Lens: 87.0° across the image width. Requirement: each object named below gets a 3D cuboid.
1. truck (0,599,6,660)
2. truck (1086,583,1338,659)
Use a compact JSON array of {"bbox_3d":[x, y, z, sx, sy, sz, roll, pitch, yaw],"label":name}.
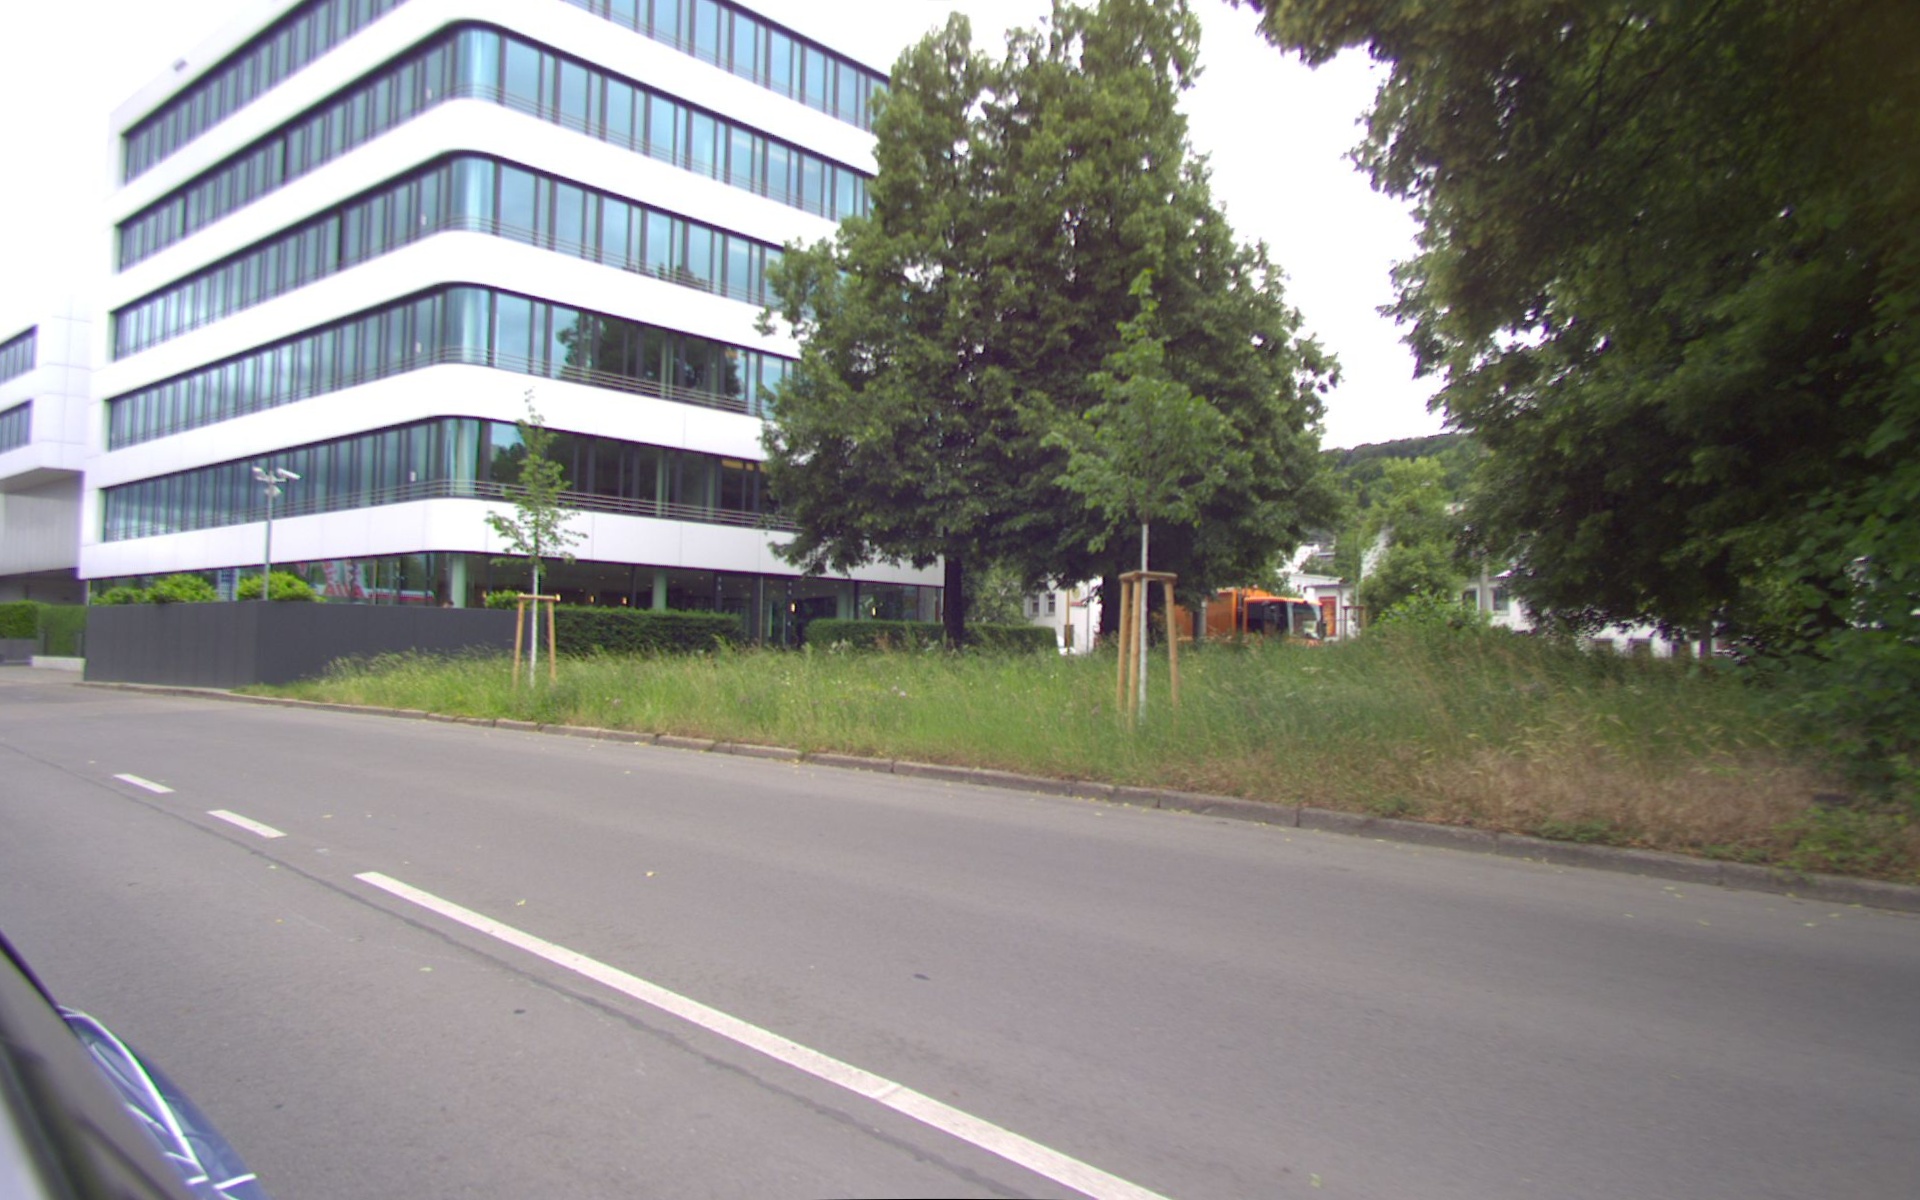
[{"bbox_3d":[-64.075,1.860,65.257,2.706,4.062,7.108,3,-4,-36],"label":"truck"},{"bbox_3d":[9.420,1.001,39.586,2.933,2.541,10.274,3,-4,-34],"label":"truck"}]
